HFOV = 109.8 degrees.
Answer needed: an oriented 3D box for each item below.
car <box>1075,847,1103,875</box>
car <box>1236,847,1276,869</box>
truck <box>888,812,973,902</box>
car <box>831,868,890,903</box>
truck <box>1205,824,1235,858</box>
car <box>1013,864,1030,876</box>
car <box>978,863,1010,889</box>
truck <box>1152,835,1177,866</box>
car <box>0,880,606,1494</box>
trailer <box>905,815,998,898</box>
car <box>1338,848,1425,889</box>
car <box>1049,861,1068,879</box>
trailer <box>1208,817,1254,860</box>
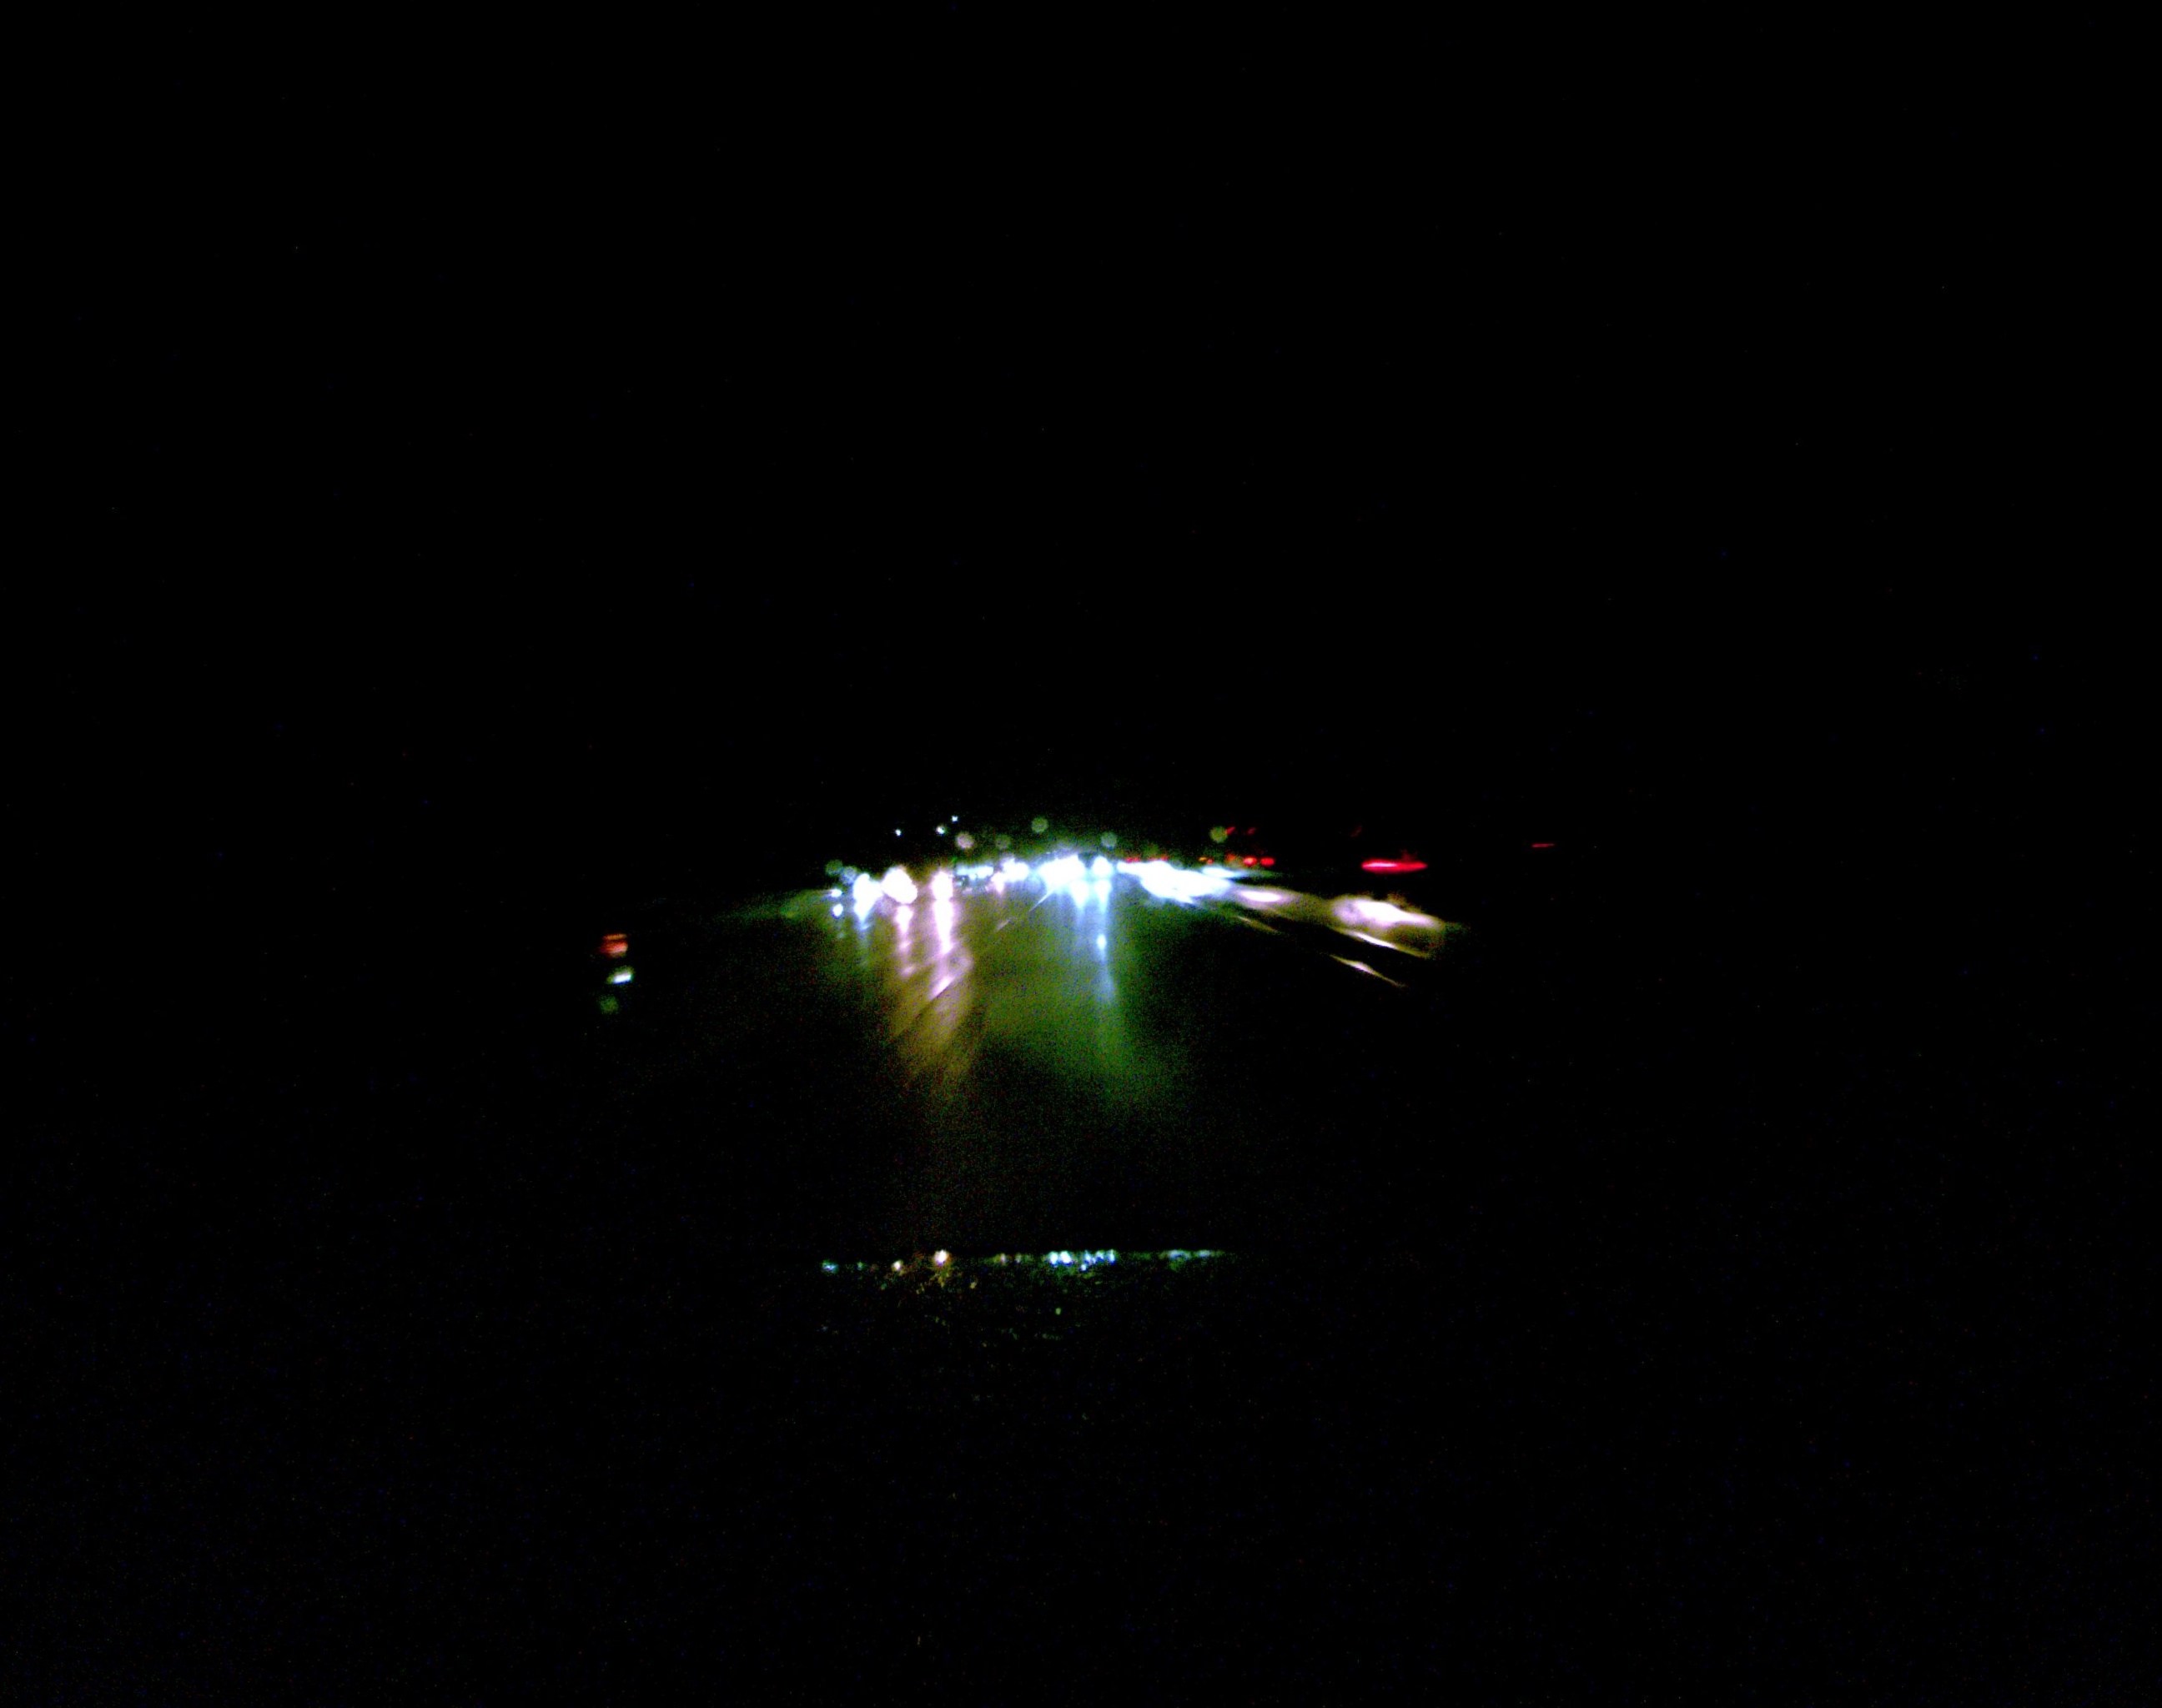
[{"bbox_3d":[0.653,0.539,59.301,1.998,2.002,4.000,-3,0,2],"label":"car"},{"bbox_3d":[13.546,0.291,59.051,1.998,1.516,4.669,-5,1,1],"label":"car"},{"bbox_3d":[-7.299,0.125,37.557,2.782,3.946,5.197,-5,1,0],"label":"truck"},{"bbox_3d":[-12.264,1.708,42.545,1.919,1.580,4.116,-5,1,1],"label":"car"},{"bbox_3d":[17.851,-1.649,97.959,2.611,4.089,5.678,-5,1,0],"label":"truck"},{"bbox_3d":[-8.964,2.393,114.970,1.998,1.615,4.625,-5,1,0],"label":"car"},{"bbox_3d":[-7.222,1.806,63.417,1.998,2.002,4.000,-3,0,2],"label":"car"},{"bbox_3d":[17.896,-0.862,164.304,3.337,6.068,16.621,-5,1,0],"label":"truck"},{"bbox_3d":[-3.958,1.026,2.902,1.848,1.615,3.678,-4,0,0],"label":"car"},{"bbox_3d":[-7.228,0.050,44.989,2.746,3.955,13.817,-5,1,0],"label":"trailer"},{"bbox_3d":[13.251,0.576,33.817,1.998,1.516,4.669,-5,1,1],"label":"car"},{"bbox_3d":[-2.687,1.921,92.797,1.998,2.002,4.000,-5,1,1],"label":"car"},{"bbox_3d":[17.760,-1.776,91.086,2.629,4.519,13.720,-5,1,0],"label":"trailer"}]
